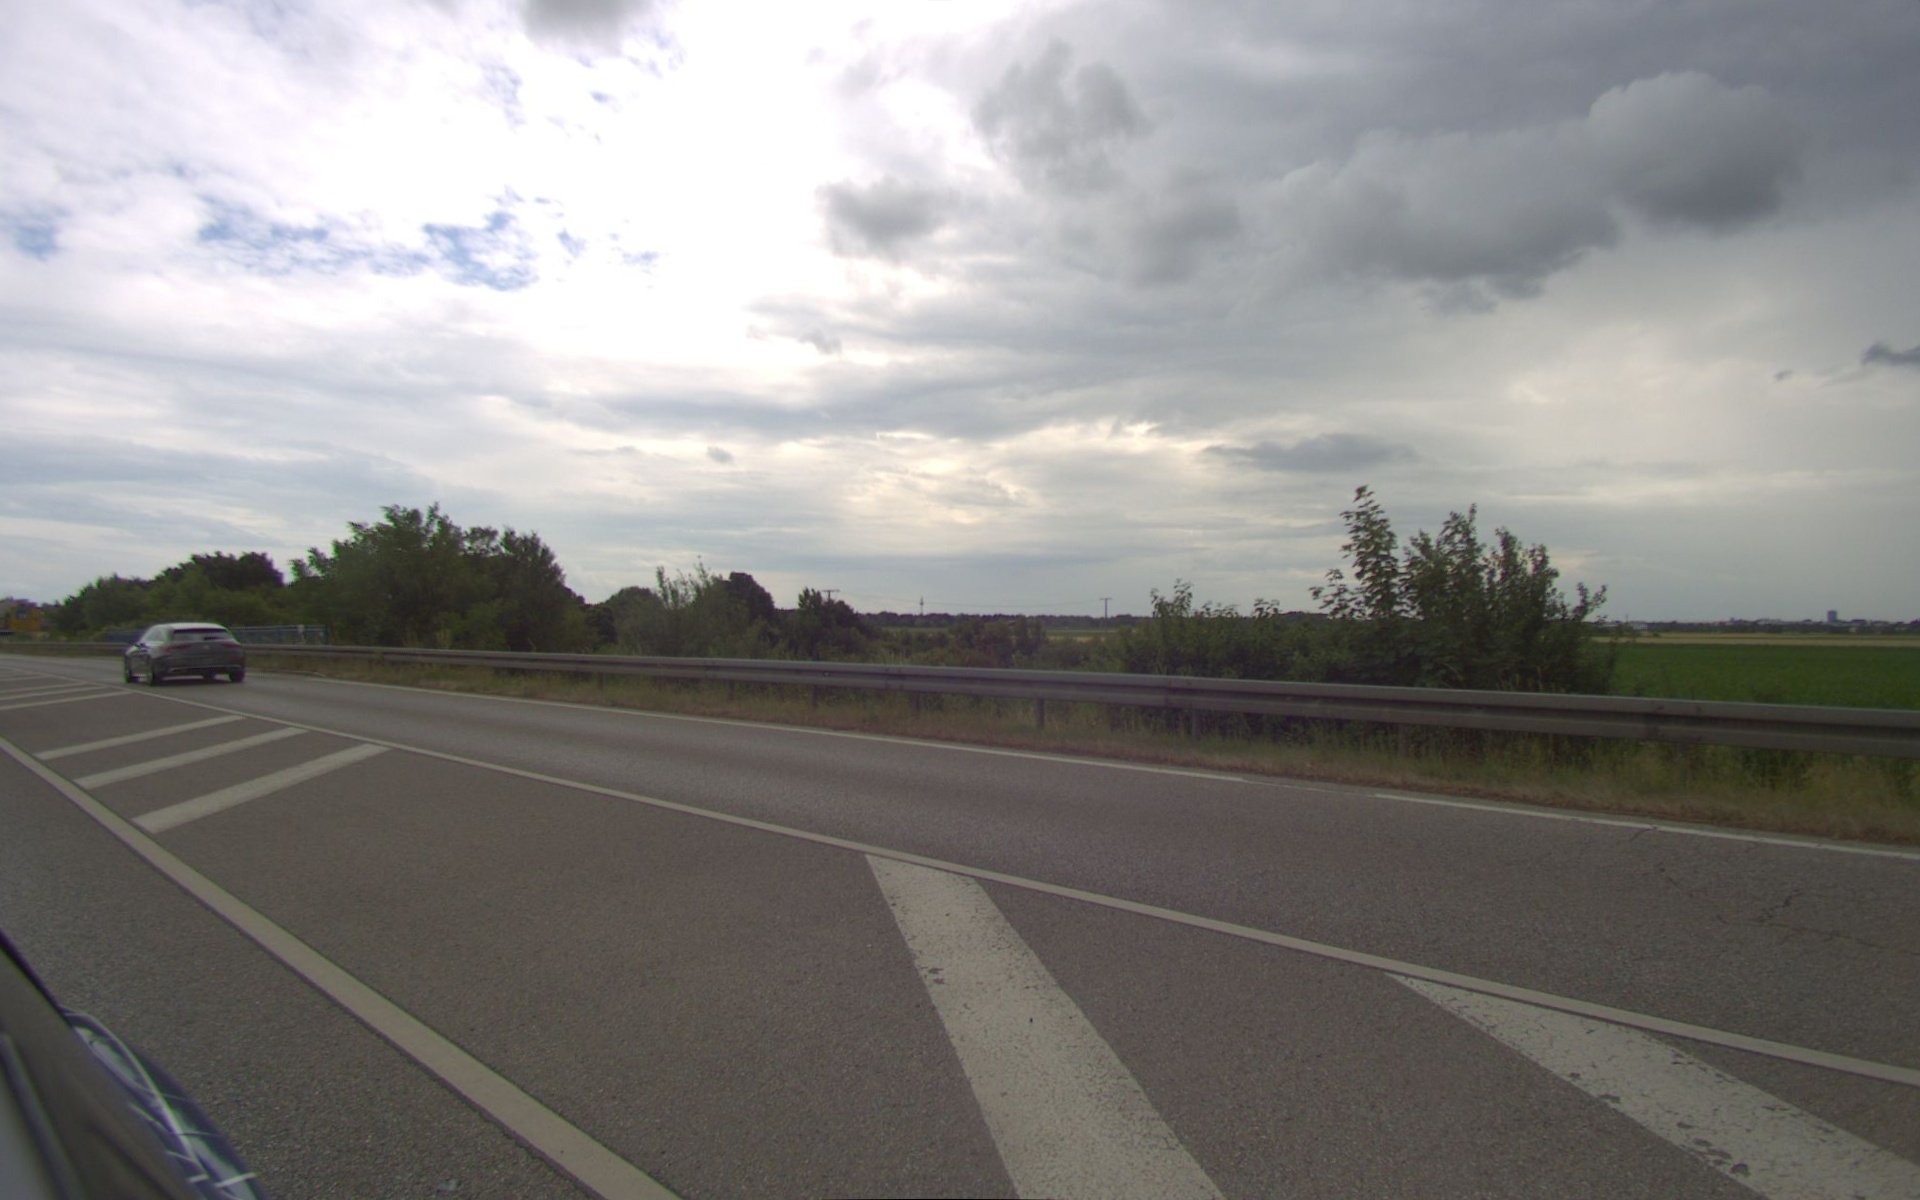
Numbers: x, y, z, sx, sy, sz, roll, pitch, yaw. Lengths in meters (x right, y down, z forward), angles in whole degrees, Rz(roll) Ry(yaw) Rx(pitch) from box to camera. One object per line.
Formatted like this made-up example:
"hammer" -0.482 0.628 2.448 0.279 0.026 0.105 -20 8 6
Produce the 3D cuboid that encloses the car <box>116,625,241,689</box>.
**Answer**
"car" -19.033 1.320 24.576 4.510 1.390 1.605 -1 -1 42
